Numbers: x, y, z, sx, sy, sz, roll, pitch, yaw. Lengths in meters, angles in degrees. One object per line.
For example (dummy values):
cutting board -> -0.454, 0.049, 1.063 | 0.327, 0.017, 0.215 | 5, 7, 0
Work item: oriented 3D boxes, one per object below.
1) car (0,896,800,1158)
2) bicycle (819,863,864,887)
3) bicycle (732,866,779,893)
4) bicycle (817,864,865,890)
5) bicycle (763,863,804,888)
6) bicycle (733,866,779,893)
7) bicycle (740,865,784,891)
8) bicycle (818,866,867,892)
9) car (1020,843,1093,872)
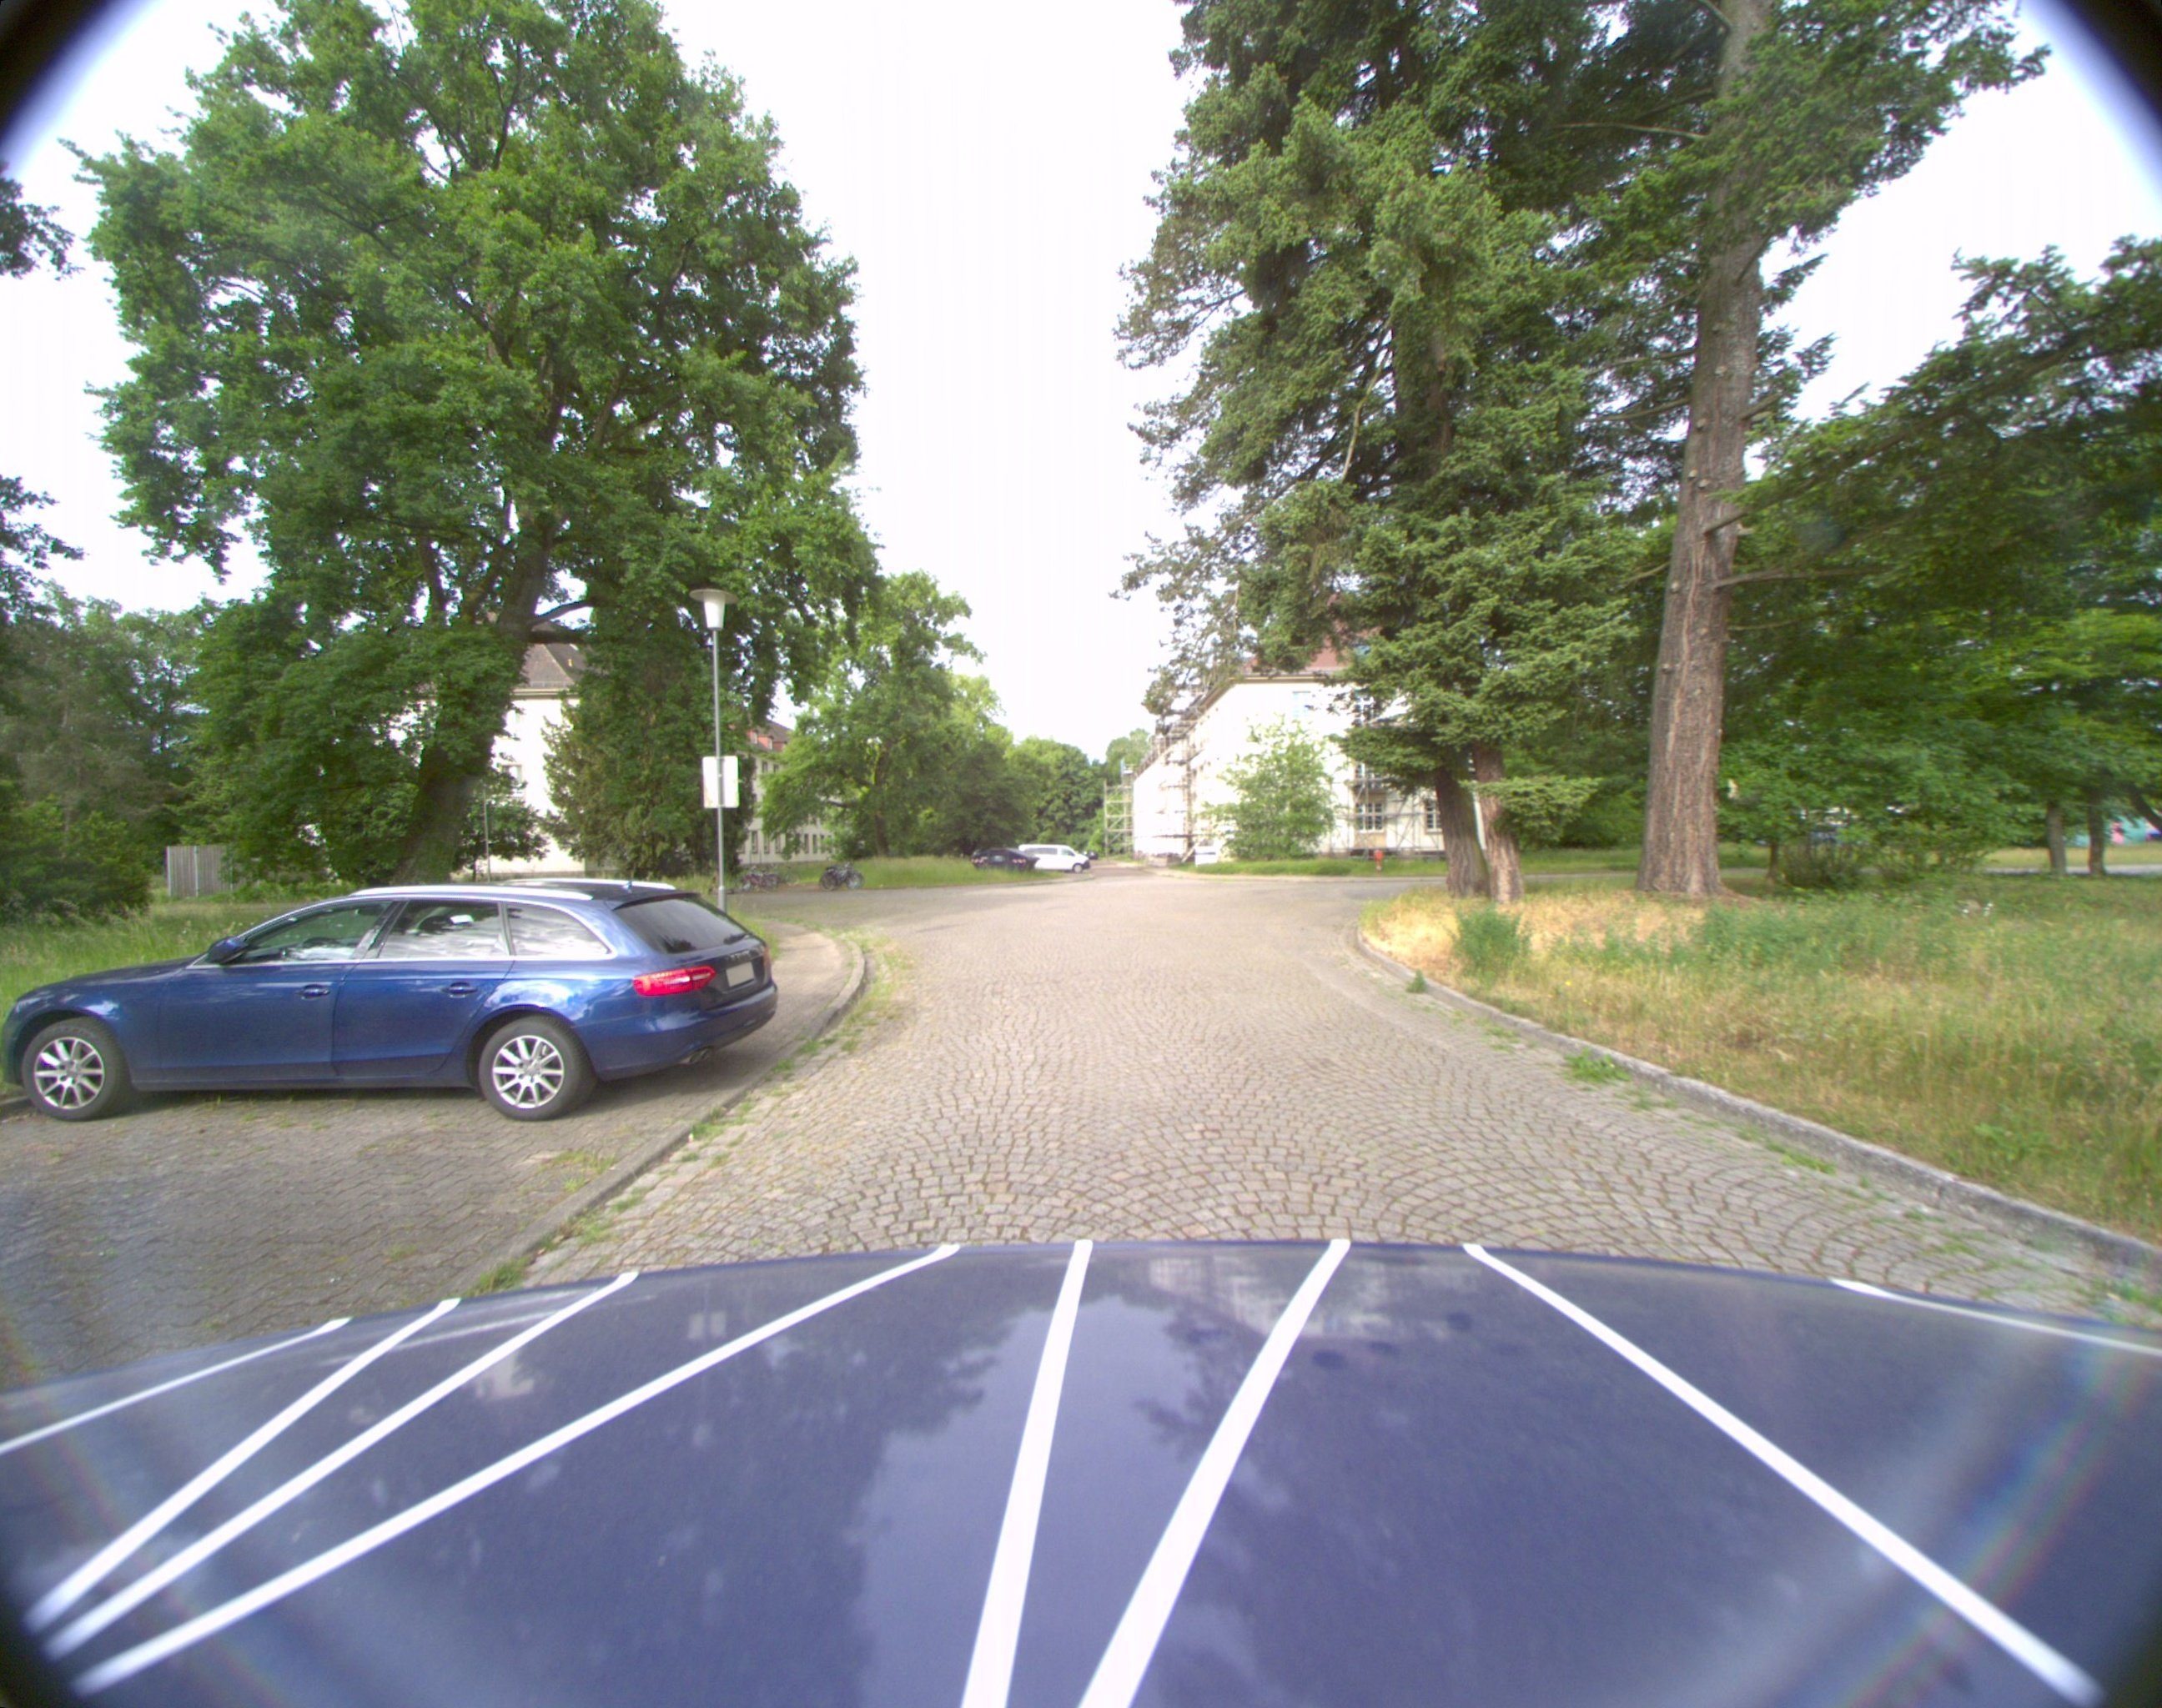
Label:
car -> -4.561, 1.064, 5.350 | 4.481, 1.413, 1.784 | 0, 1, 1
bicycle -> -11.788, 1.003, 37.379 | 2.032, 1.070, 0.620 | -3, 1, -25
bicycle -> -14.498, 1.130, 33.835 | 1.860, 1.116, 0.620 | -3, 1, -25
bicycle -> -11.147, 1.058, 35.294 | 1.976, 1.070, 0.587 | -3, 1, -29
bicycle -> -14.989, 1.072, 38.309 | 1.860, 1.116, 0.620 | -3, 1, -25
bicycle -> -14.718, 1.130, 34.439 | 1.860, 1.116, 0.620 | -3, 1, -25
bicycle -> -15.126, 1.121, 36.086 | 1.860, 1.116, 0.620 | -3, 1, -25
bicycle -> -10.583, 1.094, 33.731 | 1.976, 1.070, 0.587 | -3, 1, -29
car -> -1.785, 0.209, 54.290 | 5.102, 2.007, 2.054 | 0, 1, -3
